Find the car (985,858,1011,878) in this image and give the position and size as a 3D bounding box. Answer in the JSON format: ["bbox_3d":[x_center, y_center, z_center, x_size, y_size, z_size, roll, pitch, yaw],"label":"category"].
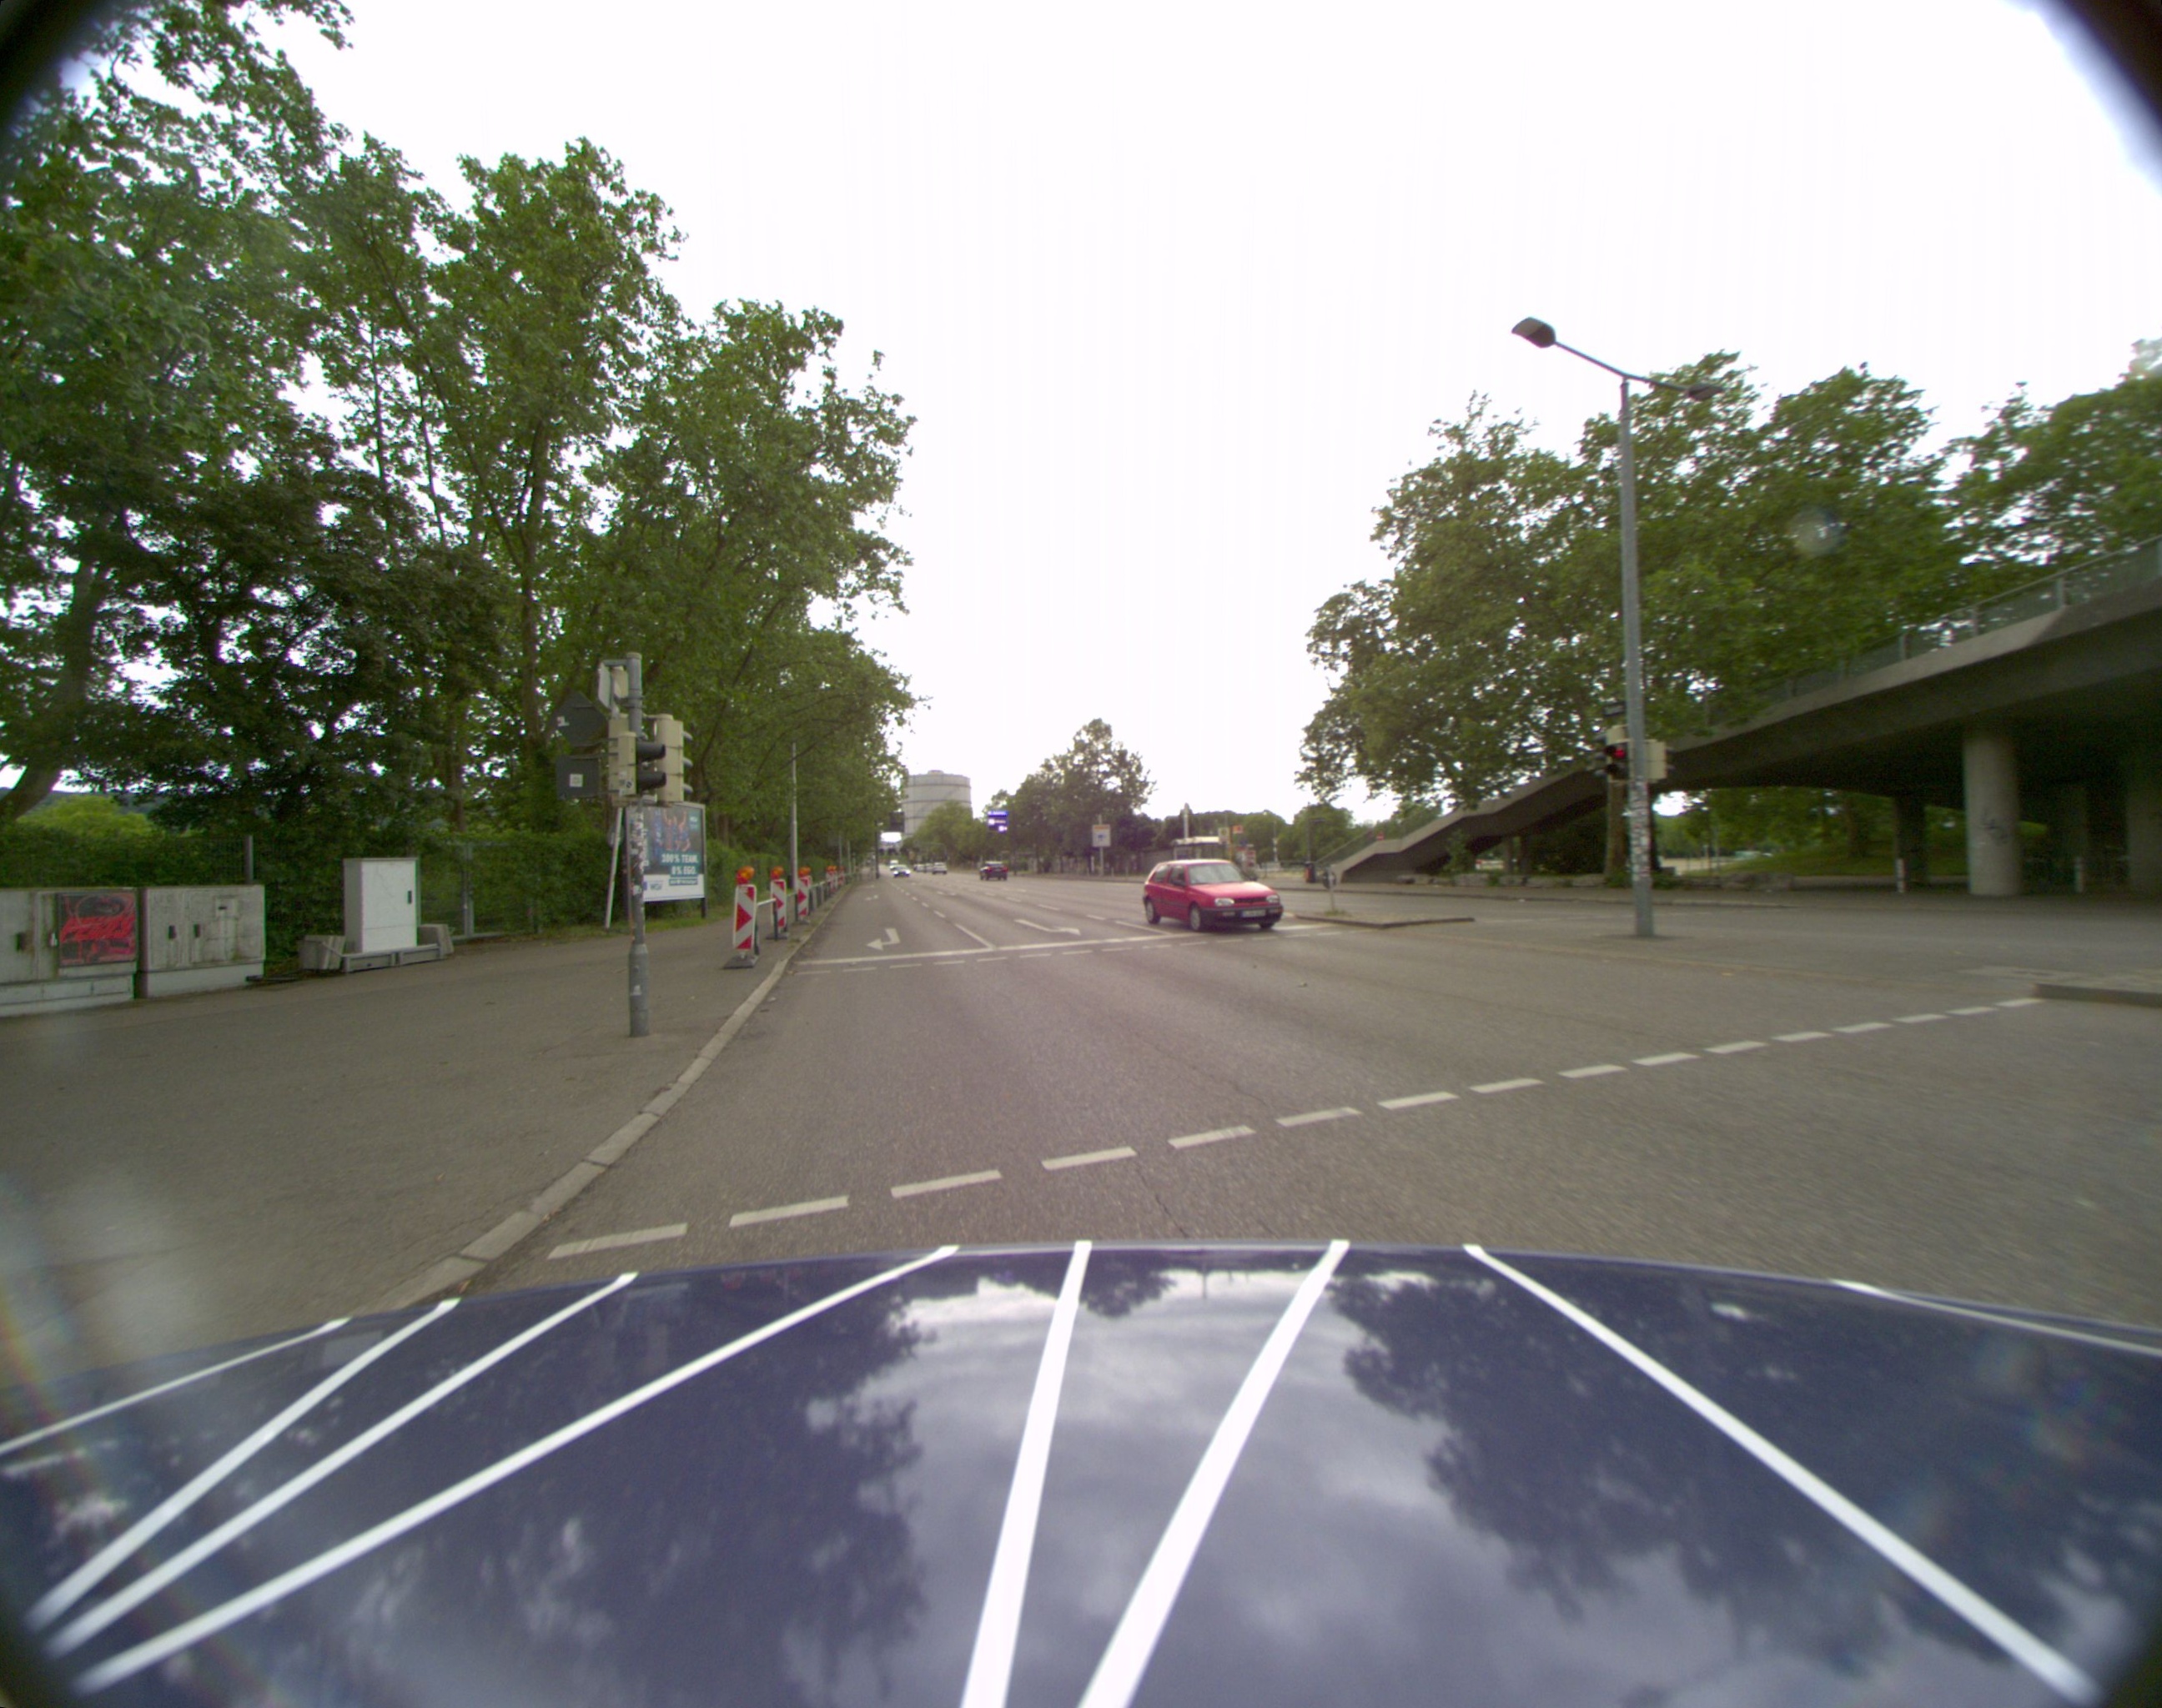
[{"bbox_3d":[-7.229,1.222,65.788,1.776,1.596,4.423,-1,0,-13],"label":"car"}]

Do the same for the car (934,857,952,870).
[{"bbox_3d":[-20.202,1.413,111.102,2.001,1.734,4.589,-1,0,-16],"label":"car"}]

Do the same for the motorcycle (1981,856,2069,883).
[{"bbox_3d":[31.469,0.506,25.372,0.650,0.846,1.736,-1,0,-10],"label":"motorcycle"}]

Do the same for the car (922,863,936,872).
[{"bbox_3d":[-26.394,2.345,131.889,2.001,1.516,3.994,-1,0,-17],"label":"car"}]

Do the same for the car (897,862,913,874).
[{"bbox_3d":[-22.121,1.755,95.359,1.801,1.501,3.995,-1,0,-15],"label":"car"}]

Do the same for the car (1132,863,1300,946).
[{"bbox_3d":[2.690,0.956,16.129,1.835,1.443,4.071,-2,0,-16],"label":"car"}]

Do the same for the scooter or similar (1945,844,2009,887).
[{"bbox_3d":[28.622,0.356,24.293,0.417,1.311,1.225,-1,2,-16],"label":"scooter or similar"}]

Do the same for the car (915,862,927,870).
[{"bbox_3d":[-31.091,2.288,147.151,2.001,1.521,4.379,-1,0,-15],"label":"car"}]

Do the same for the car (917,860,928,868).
[{"bbox_3d":[-34.950,2.195,167.280,2.001,1.521,4.719,-1,-1,-16],"label":"car"}]
